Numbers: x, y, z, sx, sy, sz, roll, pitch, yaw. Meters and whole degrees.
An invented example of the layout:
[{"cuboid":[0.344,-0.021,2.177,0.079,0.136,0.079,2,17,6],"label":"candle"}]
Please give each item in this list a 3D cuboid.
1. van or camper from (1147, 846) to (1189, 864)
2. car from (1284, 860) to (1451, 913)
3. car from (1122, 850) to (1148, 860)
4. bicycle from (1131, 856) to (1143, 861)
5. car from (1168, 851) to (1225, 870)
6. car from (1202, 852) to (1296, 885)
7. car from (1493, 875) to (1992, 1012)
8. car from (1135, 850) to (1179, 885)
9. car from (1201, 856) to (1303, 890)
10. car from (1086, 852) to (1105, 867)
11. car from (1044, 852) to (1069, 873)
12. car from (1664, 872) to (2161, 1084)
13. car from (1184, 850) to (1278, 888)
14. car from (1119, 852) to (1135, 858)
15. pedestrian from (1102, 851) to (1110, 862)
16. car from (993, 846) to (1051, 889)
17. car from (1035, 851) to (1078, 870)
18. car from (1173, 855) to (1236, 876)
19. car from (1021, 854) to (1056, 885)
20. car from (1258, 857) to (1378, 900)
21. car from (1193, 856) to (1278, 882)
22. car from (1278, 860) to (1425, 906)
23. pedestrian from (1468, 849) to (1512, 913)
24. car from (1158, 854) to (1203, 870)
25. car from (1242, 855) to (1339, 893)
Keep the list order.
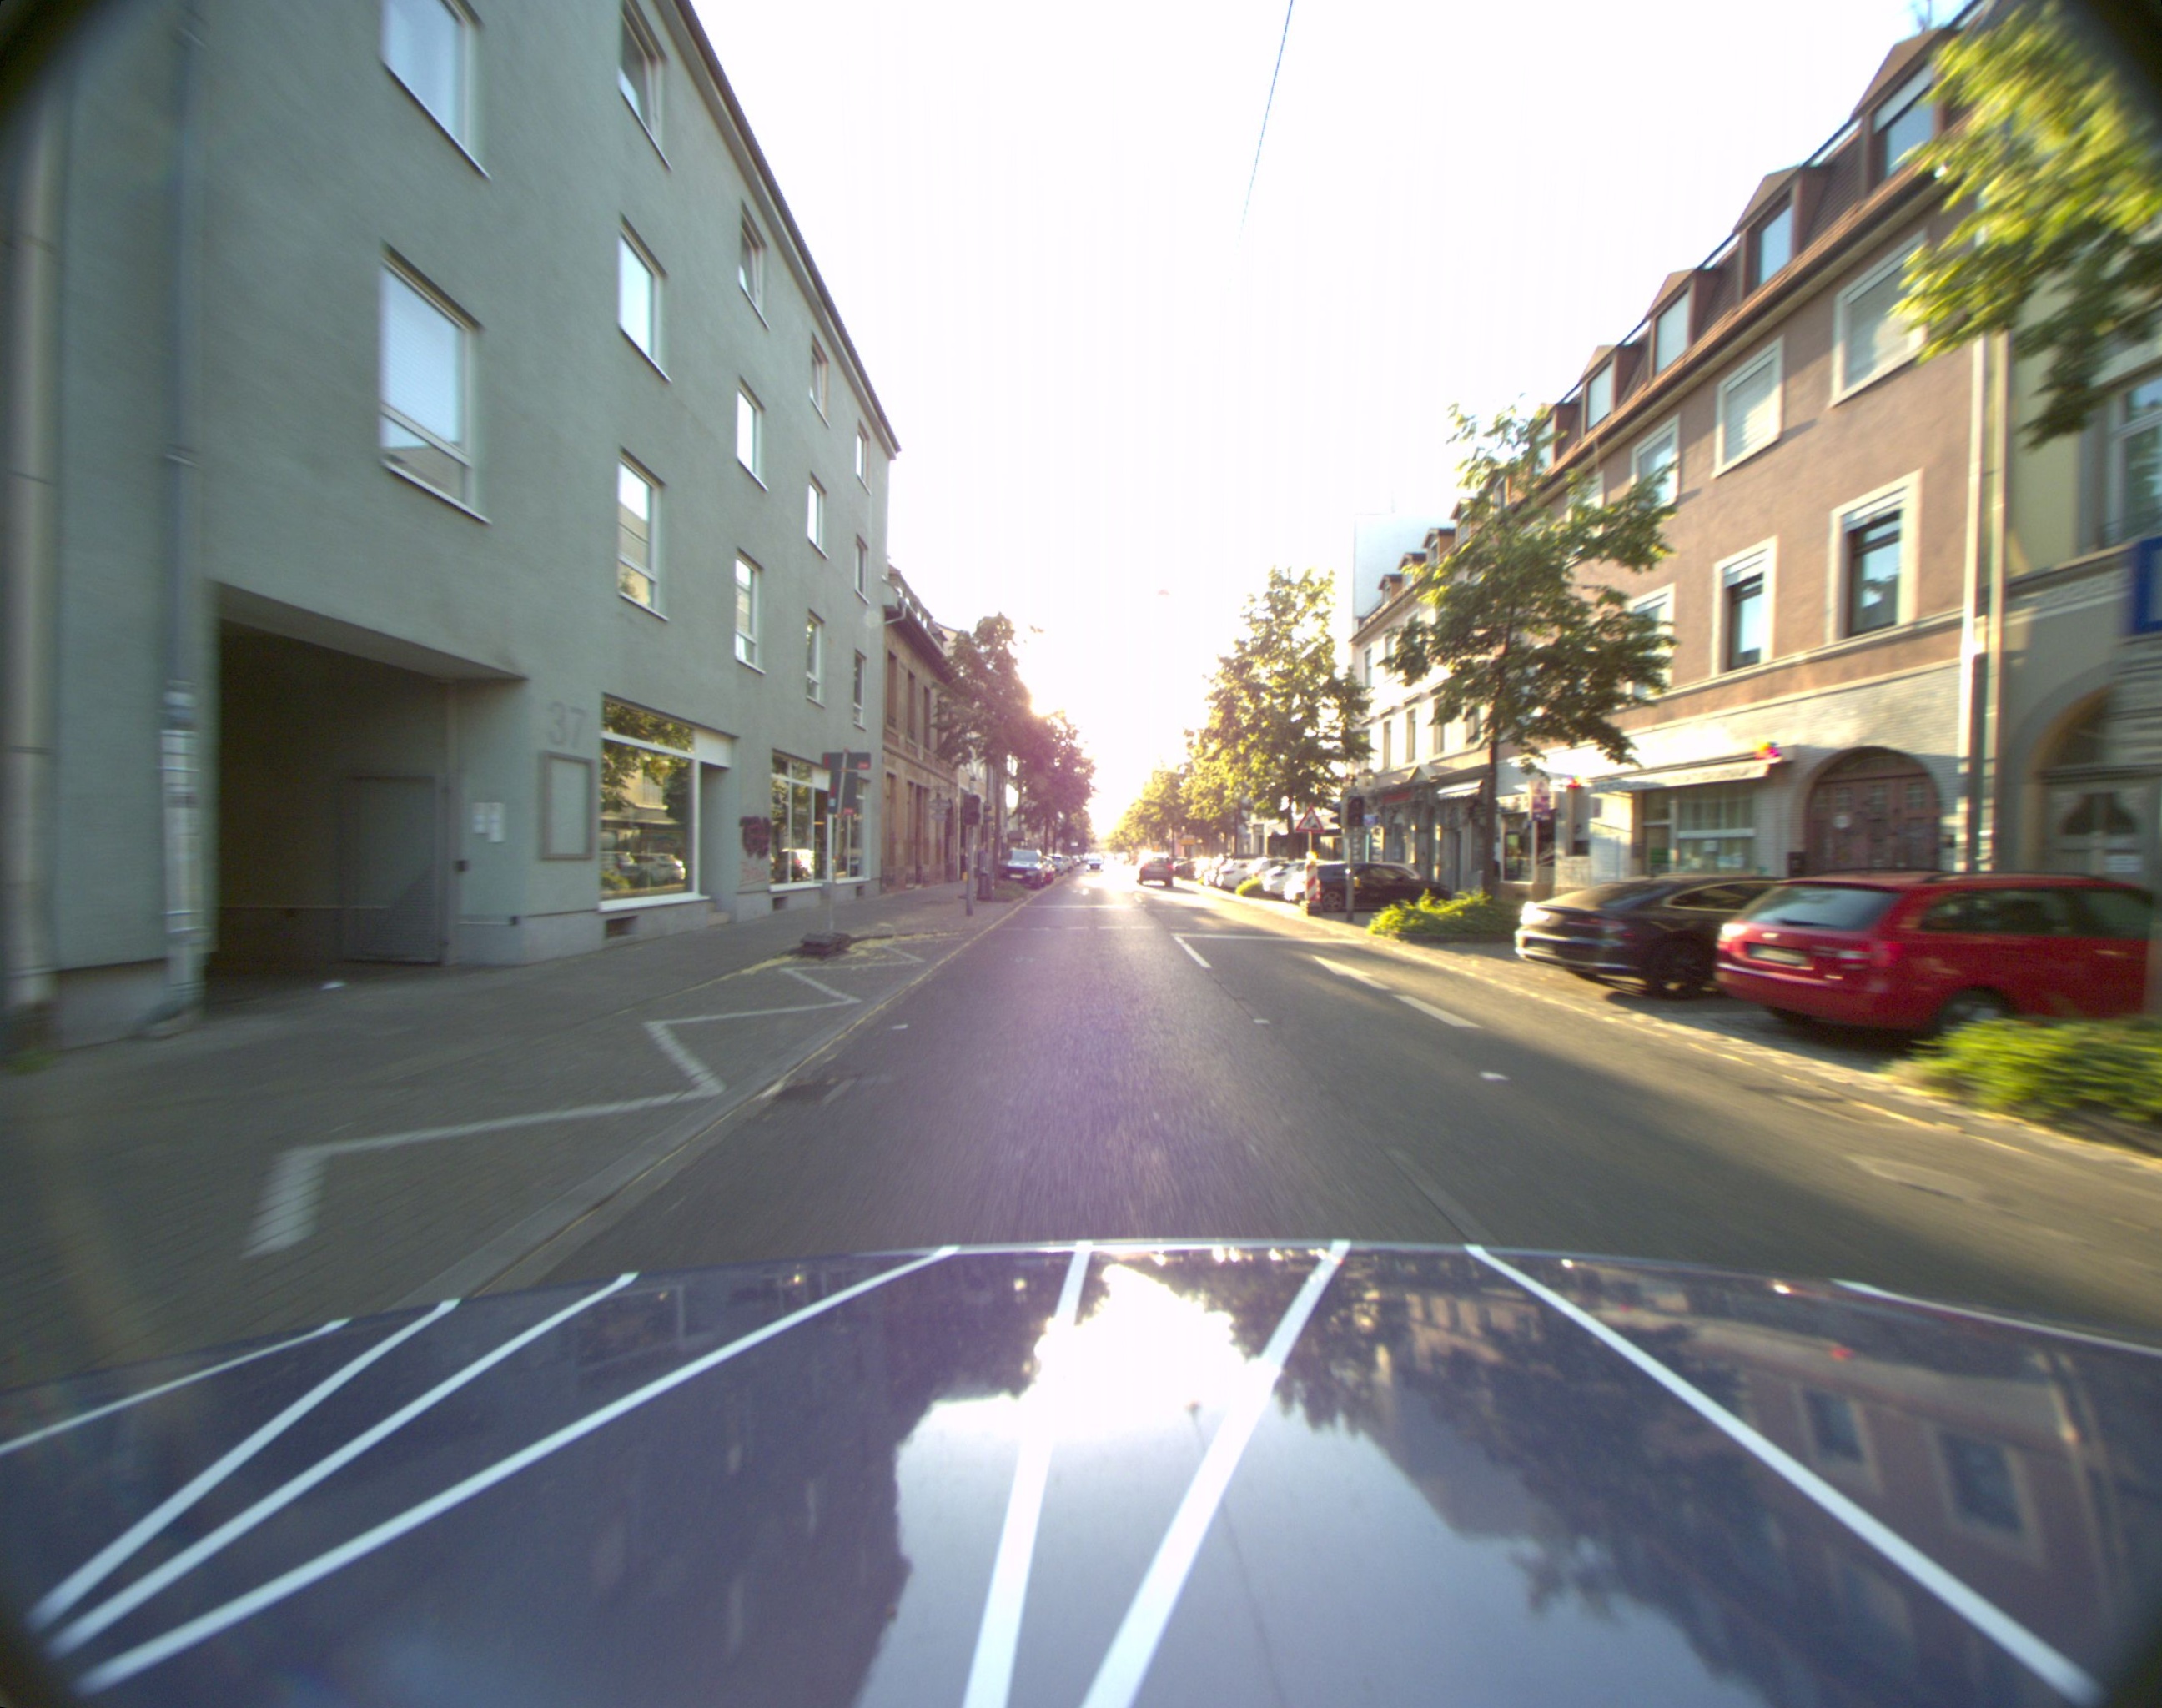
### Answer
[{"cuboid":[9.723,0.134,85.131,4.469,1.945,1.789,0,0,3],"label":"van or camper"},{"cuboid":[8.183,0.915,21.982,4.117,1.395,1.884,-1,0,-1],"label":"car"},{"cuboid":[9.657,0.193,136.598,4.439,1.832,1.814,-1,0,0],"label":"car"},{"cuboid":[8.914,0.680,120.388,1.796,0.761,0.408,0,1,14],"label":"bicycle"},{"cuboid":[9.233,0.507,61.002,4.286,1.475,1.744,0,0,-1],"label":"car"},{"cuboid":[8.577,0.723,39.111,4.417,1.586,1.890,-1,0,0],"label":"car"},{"cuboid":[7.849,1.018,9.354,4.582,1.399,1.821,-1,0,0],"label":"car"},{"cuboid":[3.990,0.666,40.696,1.866,1.682,4.460,3,1,1],"label":"car"},{"cuboid":[7.607,0.848,33.991,4.160,1.413,1.766,-1,1,-1],"label":"car"},{"cuboid":[1.498,0.505,75.820,1.825,1.469,4.155,0,1,2],"label":"car"},{"cuboid":[-1.887,0.630,58.723,1.695,1.534,3.553,2,0,1],"label":"car"},{"cuboid":[7.943,0.976,6.740,4.082,1.527,1.884,-1,1,1],"label":"car"},{"cuboid":[7.199,0.701,36.787,4.160,1.762,1.889,-1,1,-1],"label":"car"},{"cuboid":[11.859,0.306,195.649,4.151,1.469,1.827,0,0,2],"label":"car"},{"cuboid":[3.768,0.337,116.036,0.898,1.671,0.795,0,1,-35],"label":"pedestrian"},{"cuboid":[-2.577,0.572,34.384,2.043,1.727,4.711,2,0,2],"label":"car"},{"cuboid":[-2.161,0.567,66.981,1.661,1.574,3.632,1,-1,42],"label":"car"},{"cuboid":[8.791,0.813,54.318,4.285,1.475,1.744,0,0,1],"label":"car"},{"cuboid":[-2.256,0.808,41.341,1.734,1.479,3.899,2,0,-1],"label":"car"},{"cuboid":[8.446,0.844,27.313,3.748,1.435,1.805,-1,1,-1],"label":"car"},{"cuboid":[8.795,0.839,43.445,4.559,1.475,1.744,0,0,1],"label":"car"},{"cuboid":[8.620,0.913,24.504,4.107,1.395,1.843,0,1,3],"label":"car"},{"cuboid":[11.467,0.744,21.343,0.774,1.712,0.875,-1,2,1],"label":"pedestrian"},{"cuboid":[9.232,0.707,70.600,3.876,1.448,1.744,0,0,-1],"label":"car"},{"cuboid":[8.658,0.812,31.632,3.565,1.493,1.716,-1,1,0],"label":"car"}]
